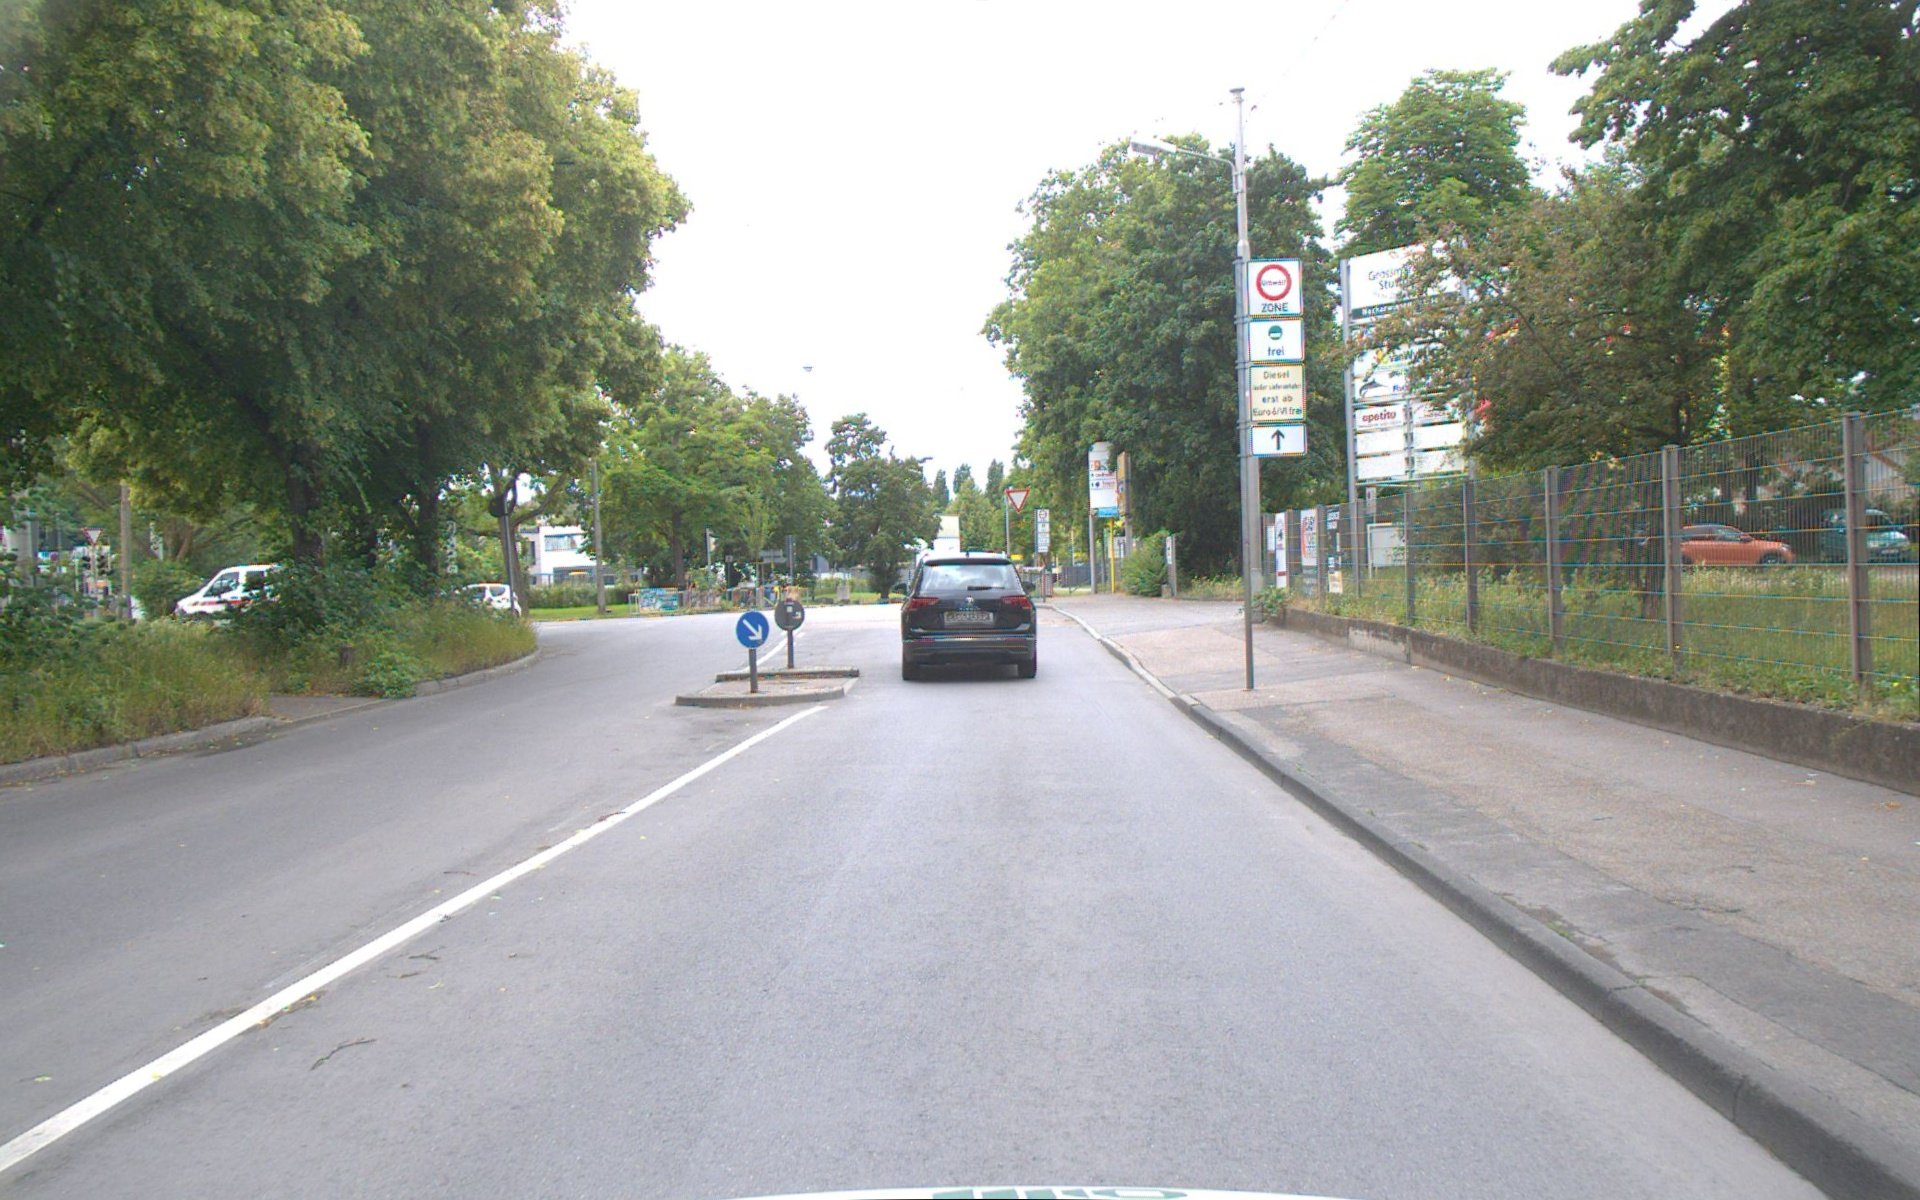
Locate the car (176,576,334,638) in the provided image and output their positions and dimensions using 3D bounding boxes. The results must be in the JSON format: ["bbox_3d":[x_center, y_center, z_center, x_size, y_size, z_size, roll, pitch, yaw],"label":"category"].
[{"bbox_3d":[-25.940,0.248,60.919,4.873,1.975,2.050,-3,1,5],"label":"car"}]

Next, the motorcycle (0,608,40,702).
[{"bbox_3d":[-12.773,0.747,21.288,0.554,1.188,2.037,-3,1,3],"label":"motorcycle"}]

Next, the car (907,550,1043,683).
[{"bbox_3d":[0.177,0.153,22.557,1.703,1.646,3.641,0,2,-1],"label":"car"}]

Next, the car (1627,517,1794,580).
[{"bbox_3d":[21.104,-1.445,46.626,3.863,1.561,1.831,-3,1,5],"label":"car"}]

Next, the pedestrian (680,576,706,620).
[{"bbox_3d":[-11.202,-0.084,69.327,0.730,1.772,0.723,-2,1,41],"label":"pedestrian"}]

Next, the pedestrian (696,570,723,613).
[{"bbox_3d":[-10.568,-0.363,69.800,0.730,1.772,0.723,-2,1,41],"label":"pedestrian"}]

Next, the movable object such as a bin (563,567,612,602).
[{"bbox_3d":[-23.523,-0.987,104.575,1.952,2.048,2.400,-2,1,21],"label":"movable object such as a bin"}]

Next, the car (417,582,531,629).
[{"bbox_3d":[-17.144,0.184,58.356,3.565,1.433,1.725,-3,1,-28],"label":"car"}]

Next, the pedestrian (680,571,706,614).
[{"bbox_3d":[-11.354,-0.311,70.353,0.730,1.772,0.723,-2,1,41],"label":"pedestrian"}]

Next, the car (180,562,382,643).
[{"bbox_3d":[-23.516,0.055,57.526,5.955,2.429,2.391,-3,1,-7],"label":"car"}]
